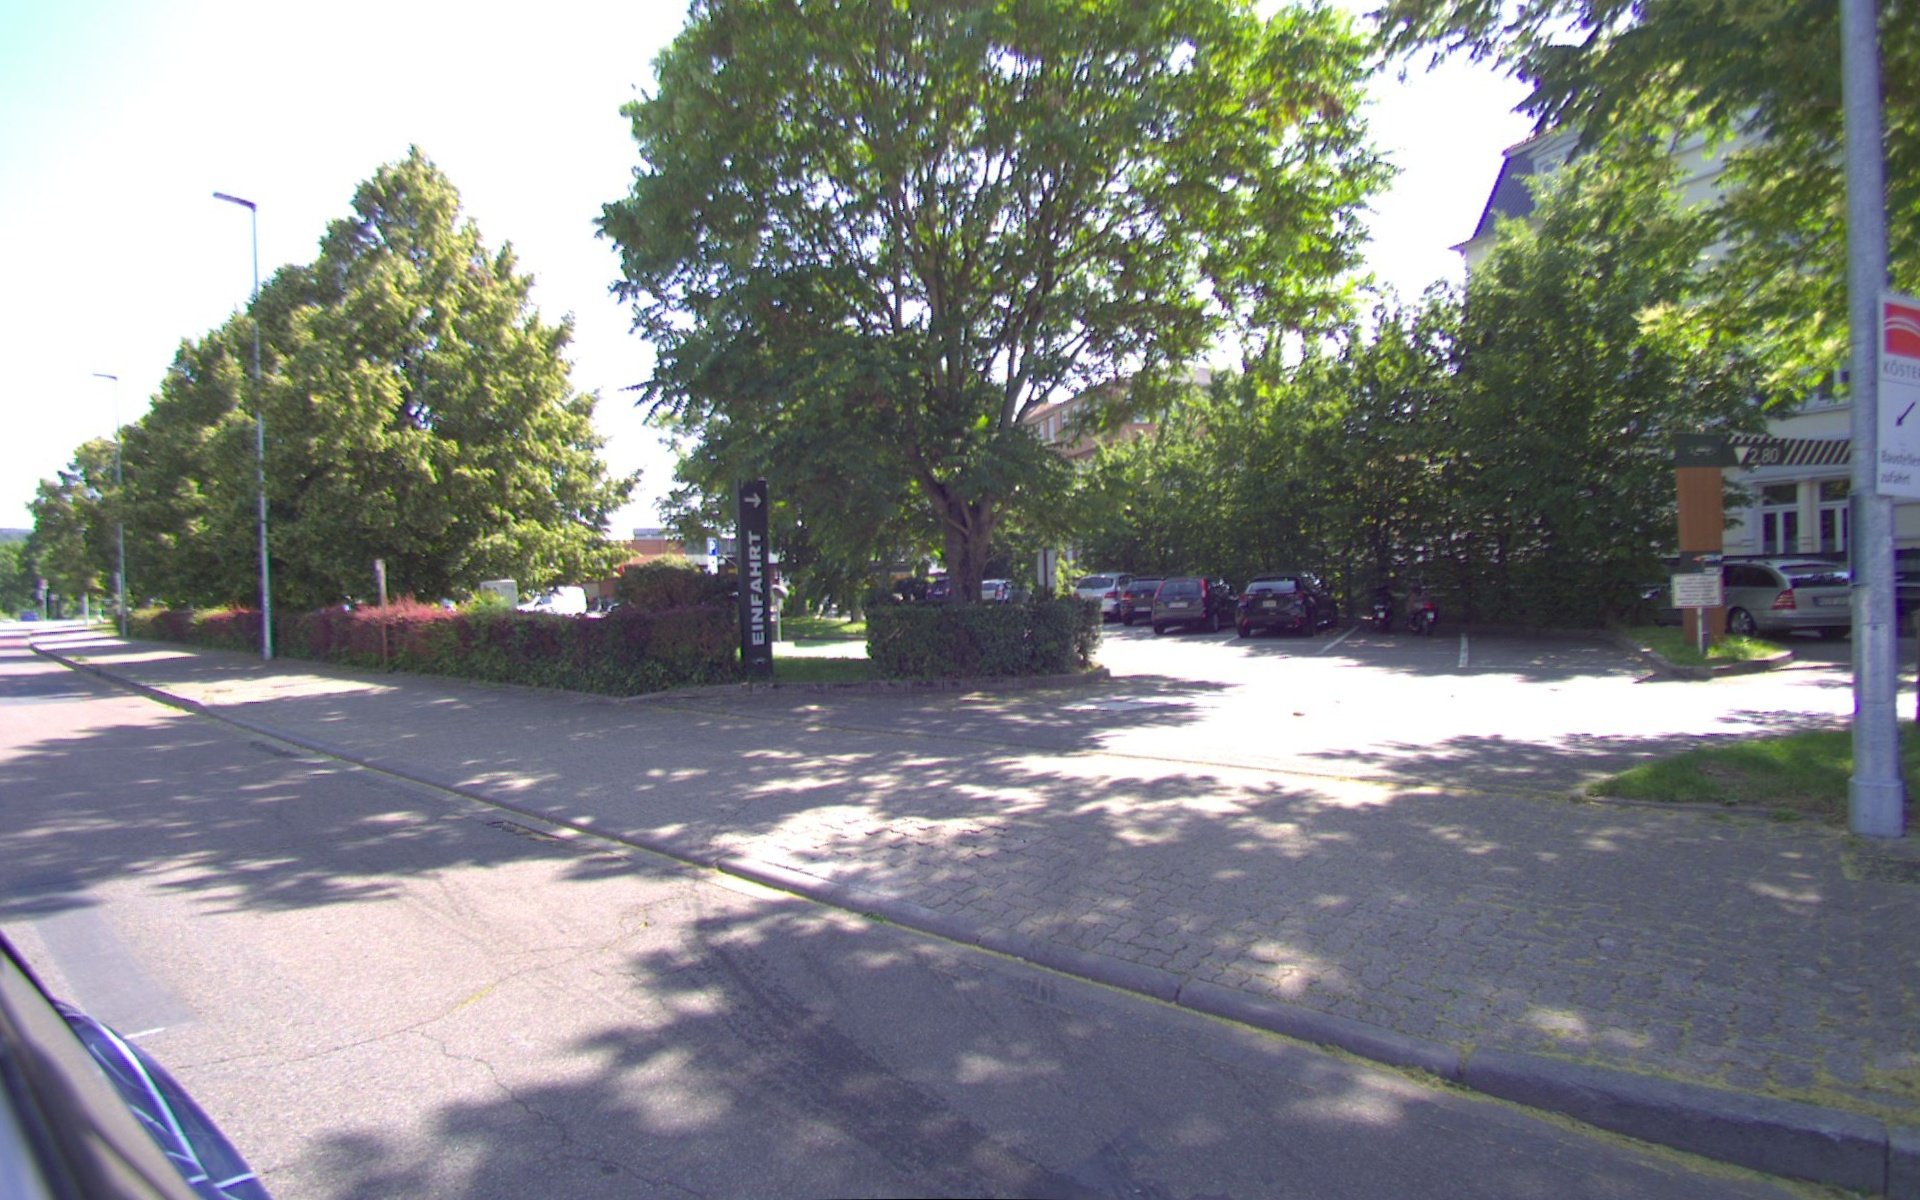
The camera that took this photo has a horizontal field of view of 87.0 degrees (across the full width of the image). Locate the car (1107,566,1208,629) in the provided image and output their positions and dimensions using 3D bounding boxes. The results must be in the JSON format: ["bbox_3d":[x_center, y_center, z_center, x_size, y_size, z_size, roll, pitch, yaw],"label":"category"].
[{"bbox_3d":[6.163,-0.115,31.200,1.795,1.745,3.982,-1,1,31],"label":"car"}]

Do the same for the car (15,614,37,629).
[{"bbox_3d":[-102.296,2.377,110.795,3.684,1.547,1.587,-1,1,45],"label":"car"}]

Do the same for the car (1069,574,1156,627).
[{"bbox_3d":[5.211,-0.018,34.148,1.636,1.599,3.811,-1,1,29],"label":"car"}]

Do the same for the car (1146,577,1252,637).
[{"bbox_3d":[6.484,0.146,27.158,1.621,1.405,4.029,-1,1,31],"label":"car"}]

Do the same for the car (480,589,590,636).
[{"bbox_3d":[-18.347,0.492,43.921,1.739,1.841,4.317,-2,0,25],"label":"car"}]

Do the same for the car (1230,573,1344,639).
[{"bbox_3d":[8.035,0.098,24.607,1.764,1.398,4.053,-1,1,31],"label":"car"}]

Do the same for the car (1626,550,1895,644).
[{"bbox_3d":[14.370,-0.075,18.549,1.693,1.414,4.379,-4,0,6],"label":"car"}]

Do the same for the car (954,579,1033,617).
[{"bbox_3d":[1.532,-0.105,44.287,1.787,1.461,4.007,-1,1,29],"label":"car"}]

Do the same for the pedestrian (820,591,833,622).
[{"bbox_3d":[-6.490,0.302,49.198,0.506,1.491,0.538,-2,1,-18],"label":"pedestrian"}]

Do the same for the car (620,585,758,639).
[{"bbox_3d":[-8.814,0.354,32.643,2.044,1.572,5.033,-2,1,-45],"label":"car"}]

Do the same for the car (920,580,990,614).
[{"bbox_3d":[-0.225,-0.171,51.372,1.813,1.588,3.829,-1,1,31],"label":"car"}]

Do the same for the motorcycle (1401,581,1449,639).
[{"bbox_3d":[10.013,0.183,21.853,0.564,1.140,2.173,-2,1,15],"label":"motorcycle"}]

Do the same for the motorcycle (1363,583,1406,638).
[{"bbox_3d":[9.459,0.214,22.612,0.564,1.124,2.173,-2,1,15],"label":"motorcycle"}]

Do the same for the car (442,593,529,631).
[{"bbox_3d":[-25.110,0.637,53.582,4.200,1.812,1.747,-2,1,23],"label":"car"}]

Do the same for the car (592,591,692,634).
[{"bbox_3d":[-13.402,0.505,42.793,1.896,1.595,3.776,-1,1,27],"label":"car"}]
